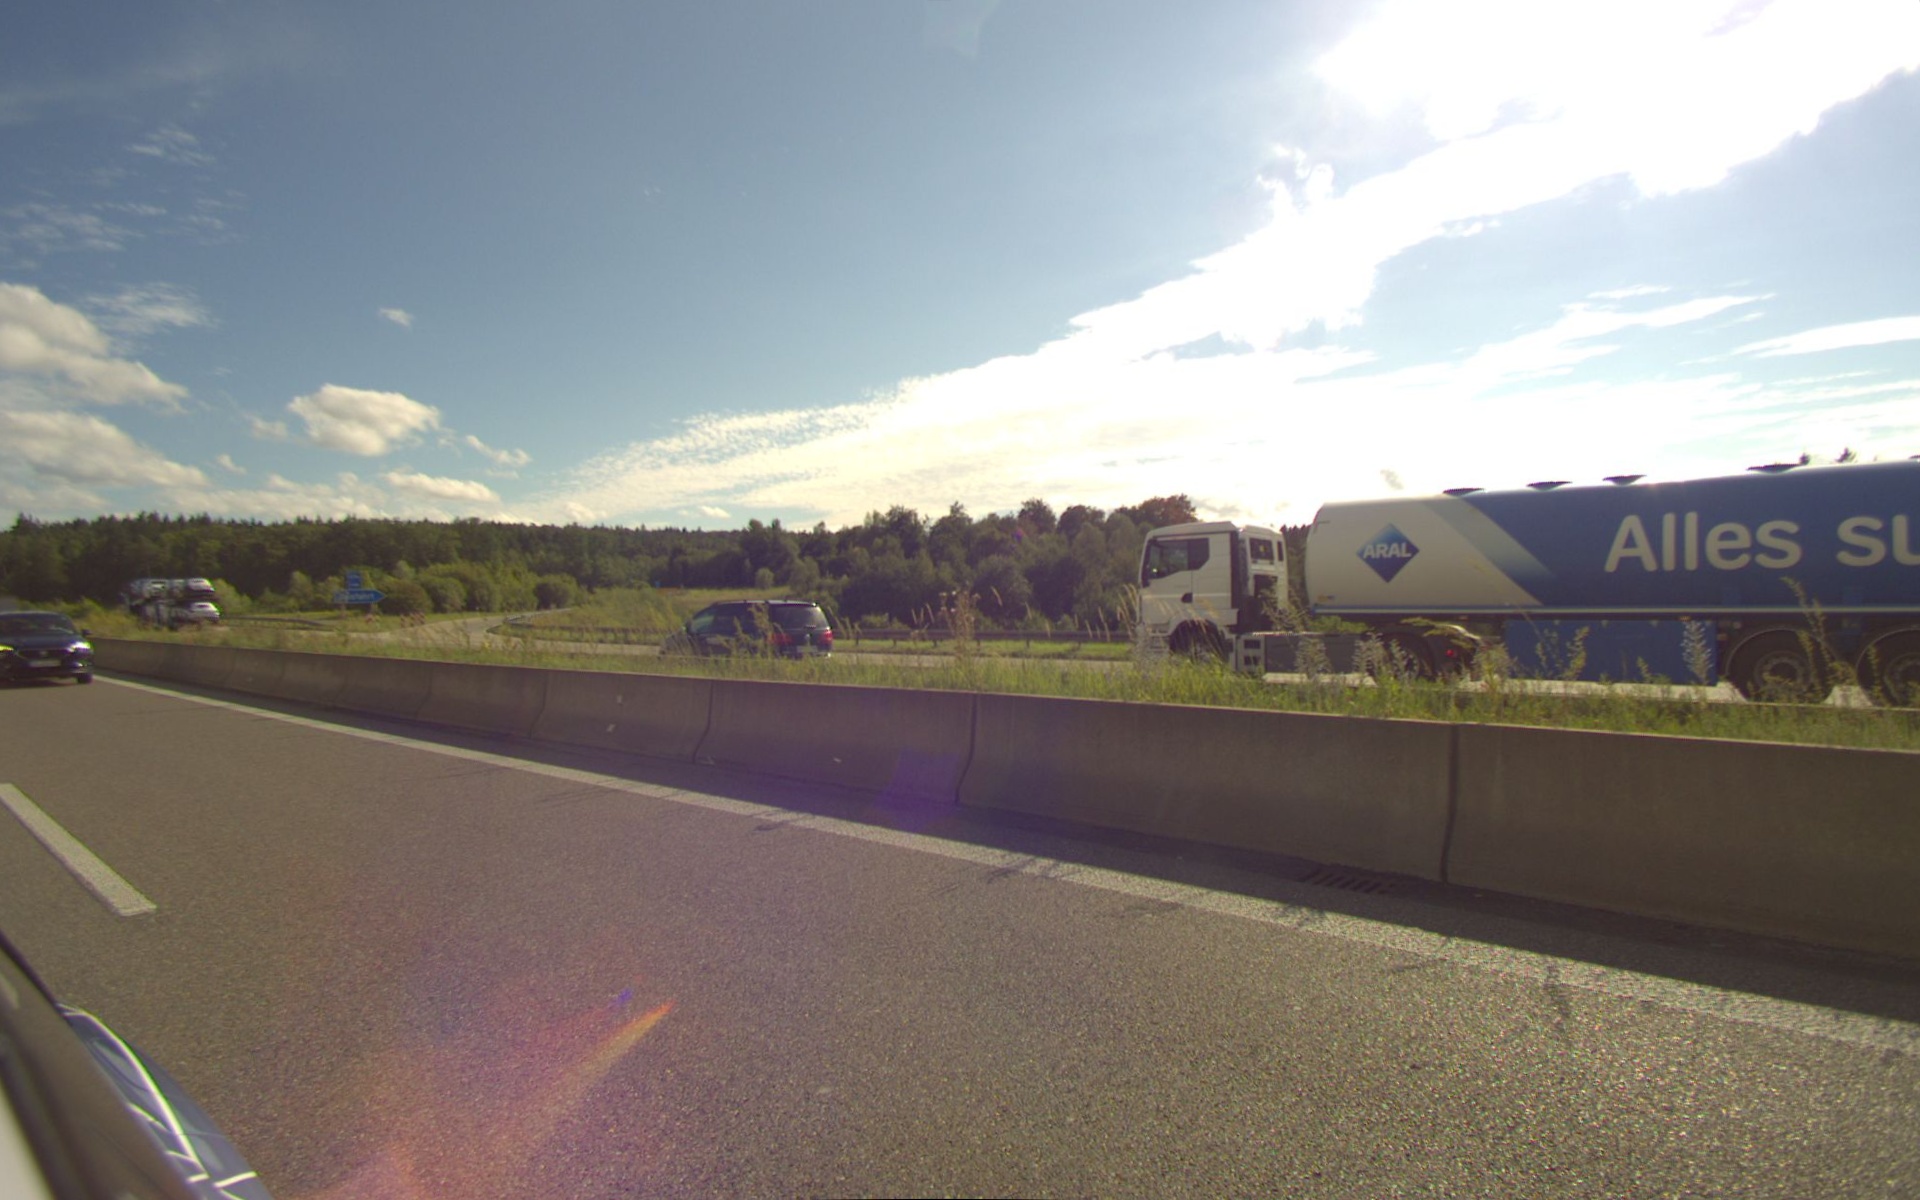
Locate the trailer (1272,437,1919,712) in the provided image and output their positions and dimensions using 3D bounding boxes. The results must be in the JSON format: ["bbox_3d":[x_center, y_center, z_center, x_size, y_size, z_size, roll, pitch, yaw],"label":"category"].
[{"bbox_3d":[10.256,-0.262,14.760,10.868,3.309,2.298,-1,-1,41],"label":"trailer"}]

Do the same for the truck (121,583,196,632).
[{"bbox_3d":[-64.143,0.602,80.873,11.127,3.717,2.802,-1,-1,41],"label":"truck"}]

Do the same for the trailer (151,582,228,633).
[{"bbox_3d":[-56.599,0.556,74.238,8.950,3.555,2.769,-1,-1,41],"label":"trailer"}]

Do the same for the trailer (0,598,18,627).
[{"bbox_3d":[-137.836,1.848,145.224,13.548,4.022,2.802,-1,0,43],"label":"trailer"}]

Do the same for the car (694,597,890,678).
[{"bbox_3d":[-3.239,0.660,19.196,3.707,1.291,1.673,-1,2,41],"label":"car"}]

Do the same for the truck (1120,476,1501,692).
[{"bbox_3d":[6.125,-0.177,18.279,6.100,3.299,2.294,-1,-2,40],"label":"truck"}]

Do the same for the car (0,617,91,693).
[{"bbox_3d":[-21.120,1.177,22.850,4.157,1.554,1.755,-1,-1,42],"label":"car"}]
